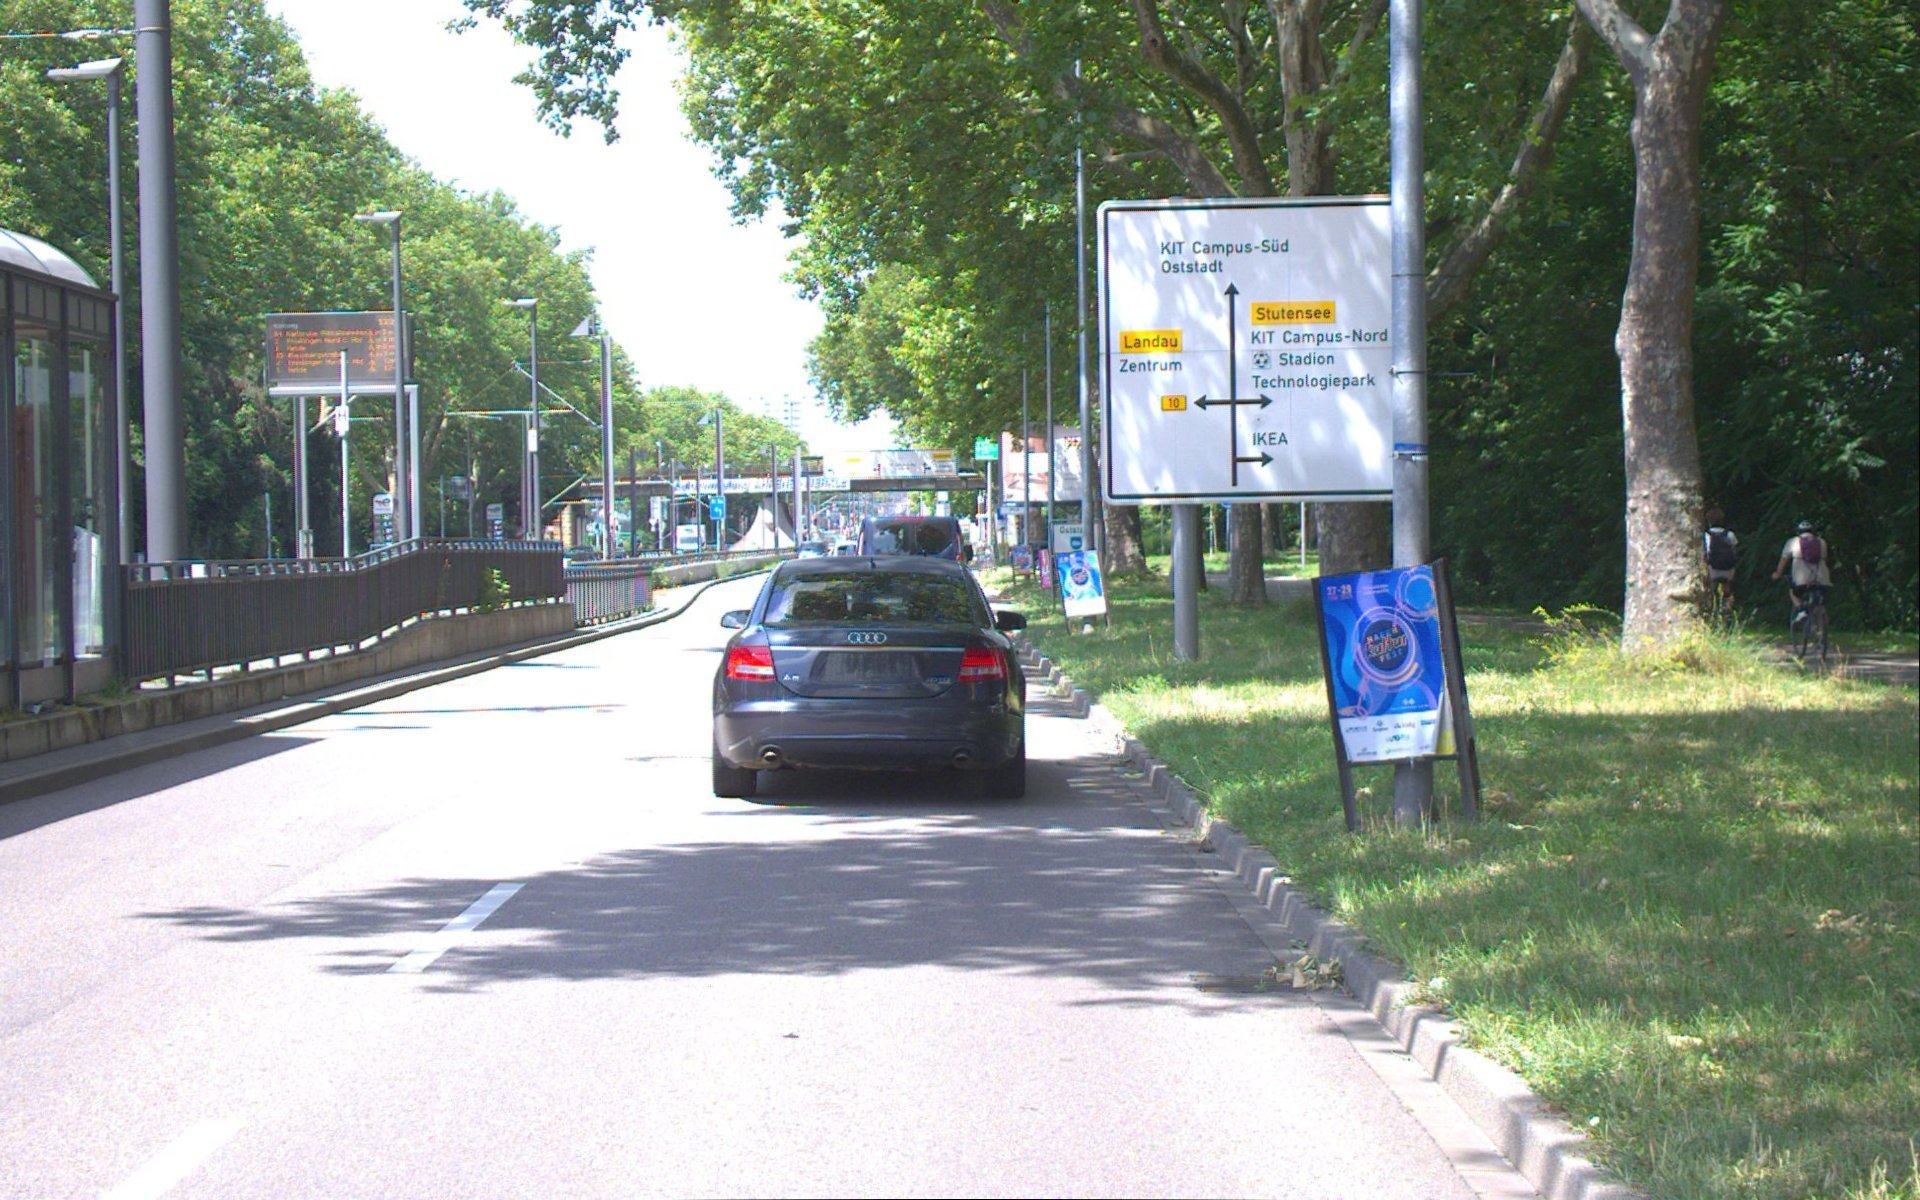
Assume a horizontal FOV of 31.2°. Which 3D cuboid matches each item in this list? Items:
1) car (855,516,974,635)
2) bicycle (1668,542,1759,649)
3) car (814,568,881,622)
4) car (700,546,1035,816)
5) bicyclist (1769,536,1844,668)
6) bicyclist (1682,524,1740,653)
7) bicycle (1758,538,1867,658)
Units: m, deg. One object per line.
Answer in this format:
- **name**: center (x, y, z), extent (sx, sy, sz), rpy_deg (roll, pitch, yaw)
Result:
- **car**: center (-0.745, -0.433, 58.929), extent (1.848, 1.953, 4.144), rpy_deg (1, 1, 2)
- **bicycle**: center (10.313, -0.089, 47.151), extent (0.610, 1.415, 2.662), rpy_deg (-1, 1, -1)
- **car**: center (-3.233, -0.160, 98.296), extent (1.845, 1.459, 4.000), rpy_deg (-1, 1, -2)
- **car**: center (-0.529, 0.444, 21.055), extent (1.842, 1.479, 4.000), rpy_deg (1, 0, 0)
- **bicyclist**: center (10.380, 0.014, 42.183), extent (0.658, 1.593, 1.053), rpy_deg (0, 1, 0)
- **bicyclist**: center (10.279, -0.164, 47.095), extent (0.597, 1.740, 0.843), rpy_deg (0, 1, -1)
- **bicycle**: center (10.417, -0.049, 42.098), extent (0.610, 1.415, 2.662), rpy_deg (-1, 1, -1)
